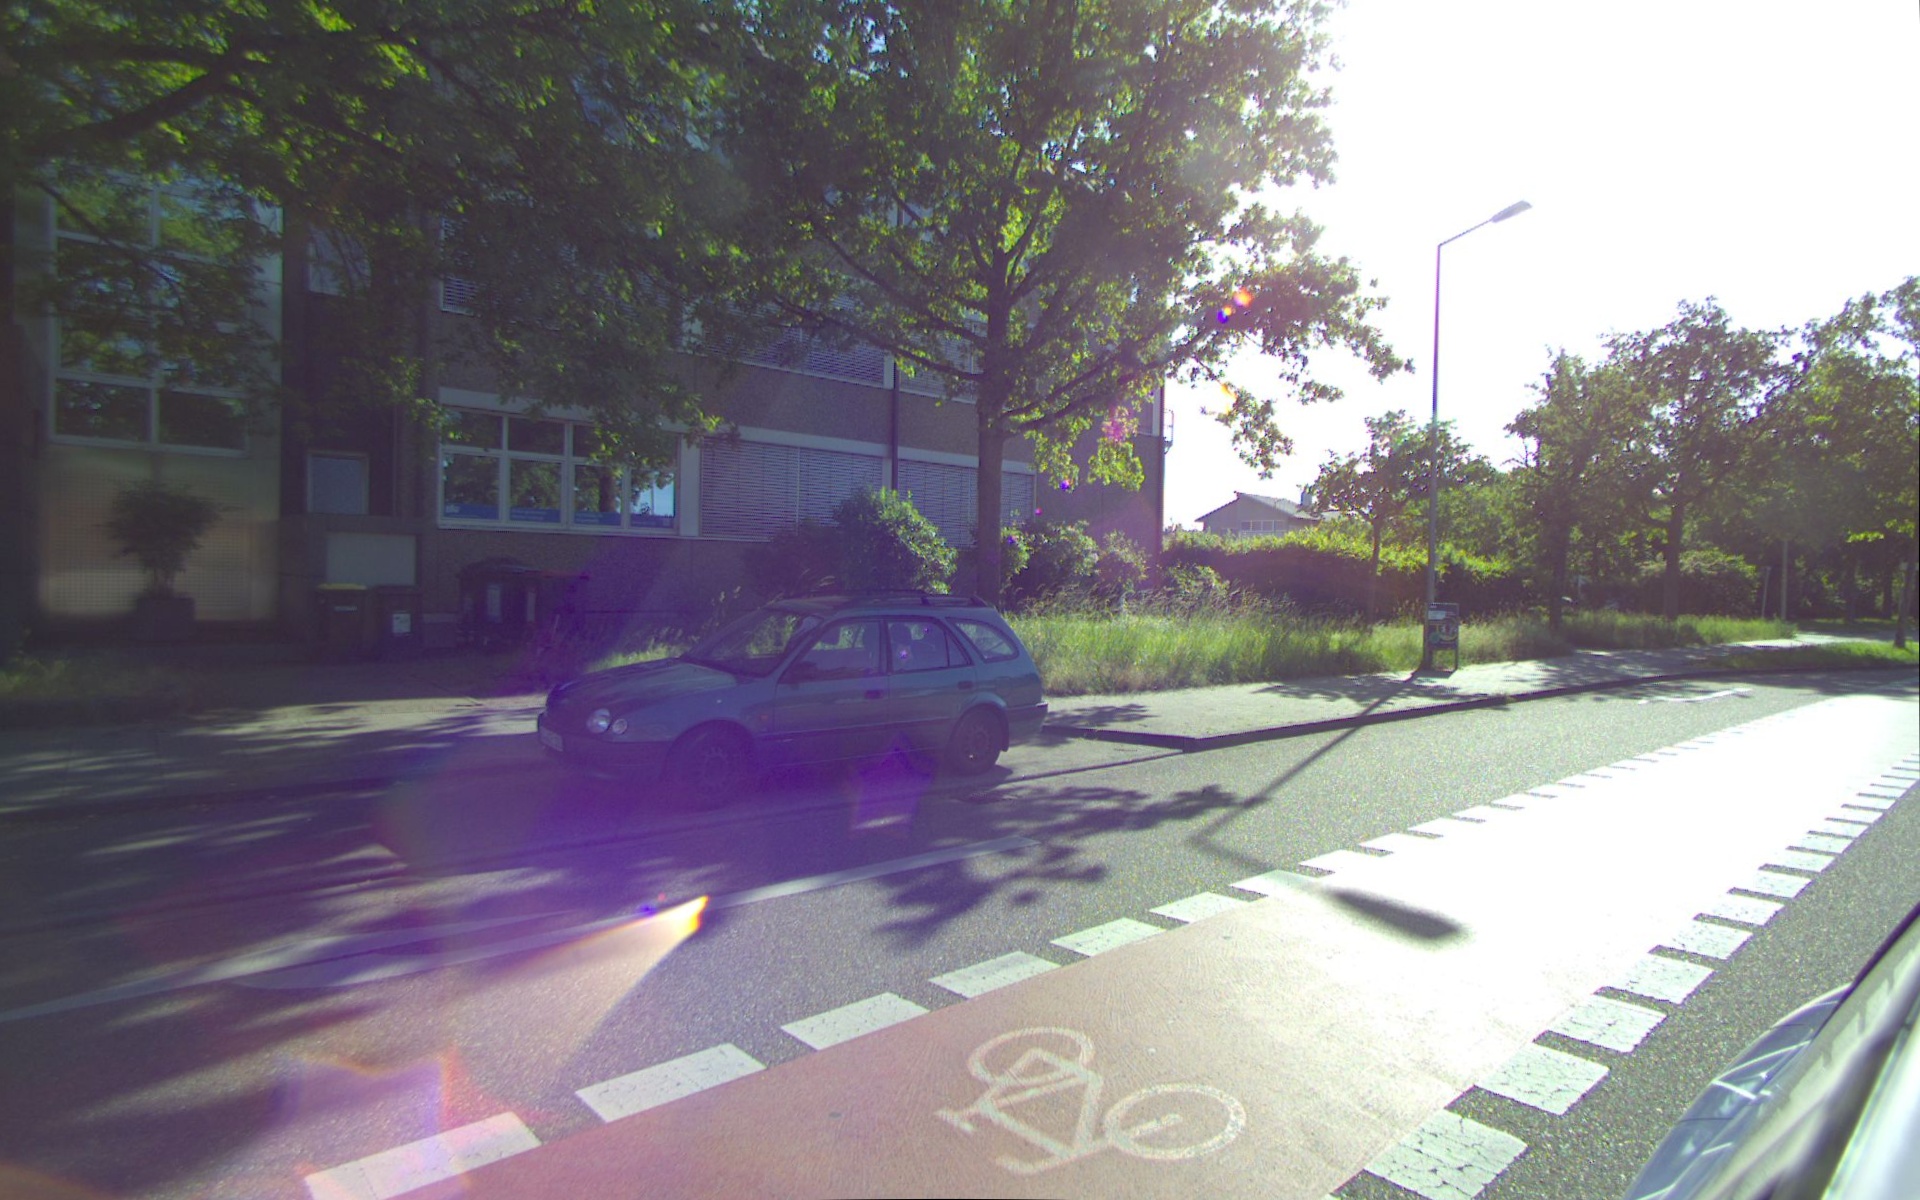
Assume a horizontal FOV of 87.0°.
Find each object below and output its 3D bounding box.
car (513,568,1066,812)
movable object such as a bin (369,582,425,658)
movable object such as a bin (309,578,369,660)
[{"bbox_3d":[-1.178,0.524,8.122,4.129,1.446,1.596,0,3,-40],"label":"car"},{"bbox_3d":[-7.835,0.267,14.074,0.566,1.020,0.629,-1,1,-41],"label":"movable object such as a bin"},{"bbox_3d":[-8.326,0.241,13.557,0.571,1.045,0.713,1,1,-41],"label":"movable object such as a bin"}]
